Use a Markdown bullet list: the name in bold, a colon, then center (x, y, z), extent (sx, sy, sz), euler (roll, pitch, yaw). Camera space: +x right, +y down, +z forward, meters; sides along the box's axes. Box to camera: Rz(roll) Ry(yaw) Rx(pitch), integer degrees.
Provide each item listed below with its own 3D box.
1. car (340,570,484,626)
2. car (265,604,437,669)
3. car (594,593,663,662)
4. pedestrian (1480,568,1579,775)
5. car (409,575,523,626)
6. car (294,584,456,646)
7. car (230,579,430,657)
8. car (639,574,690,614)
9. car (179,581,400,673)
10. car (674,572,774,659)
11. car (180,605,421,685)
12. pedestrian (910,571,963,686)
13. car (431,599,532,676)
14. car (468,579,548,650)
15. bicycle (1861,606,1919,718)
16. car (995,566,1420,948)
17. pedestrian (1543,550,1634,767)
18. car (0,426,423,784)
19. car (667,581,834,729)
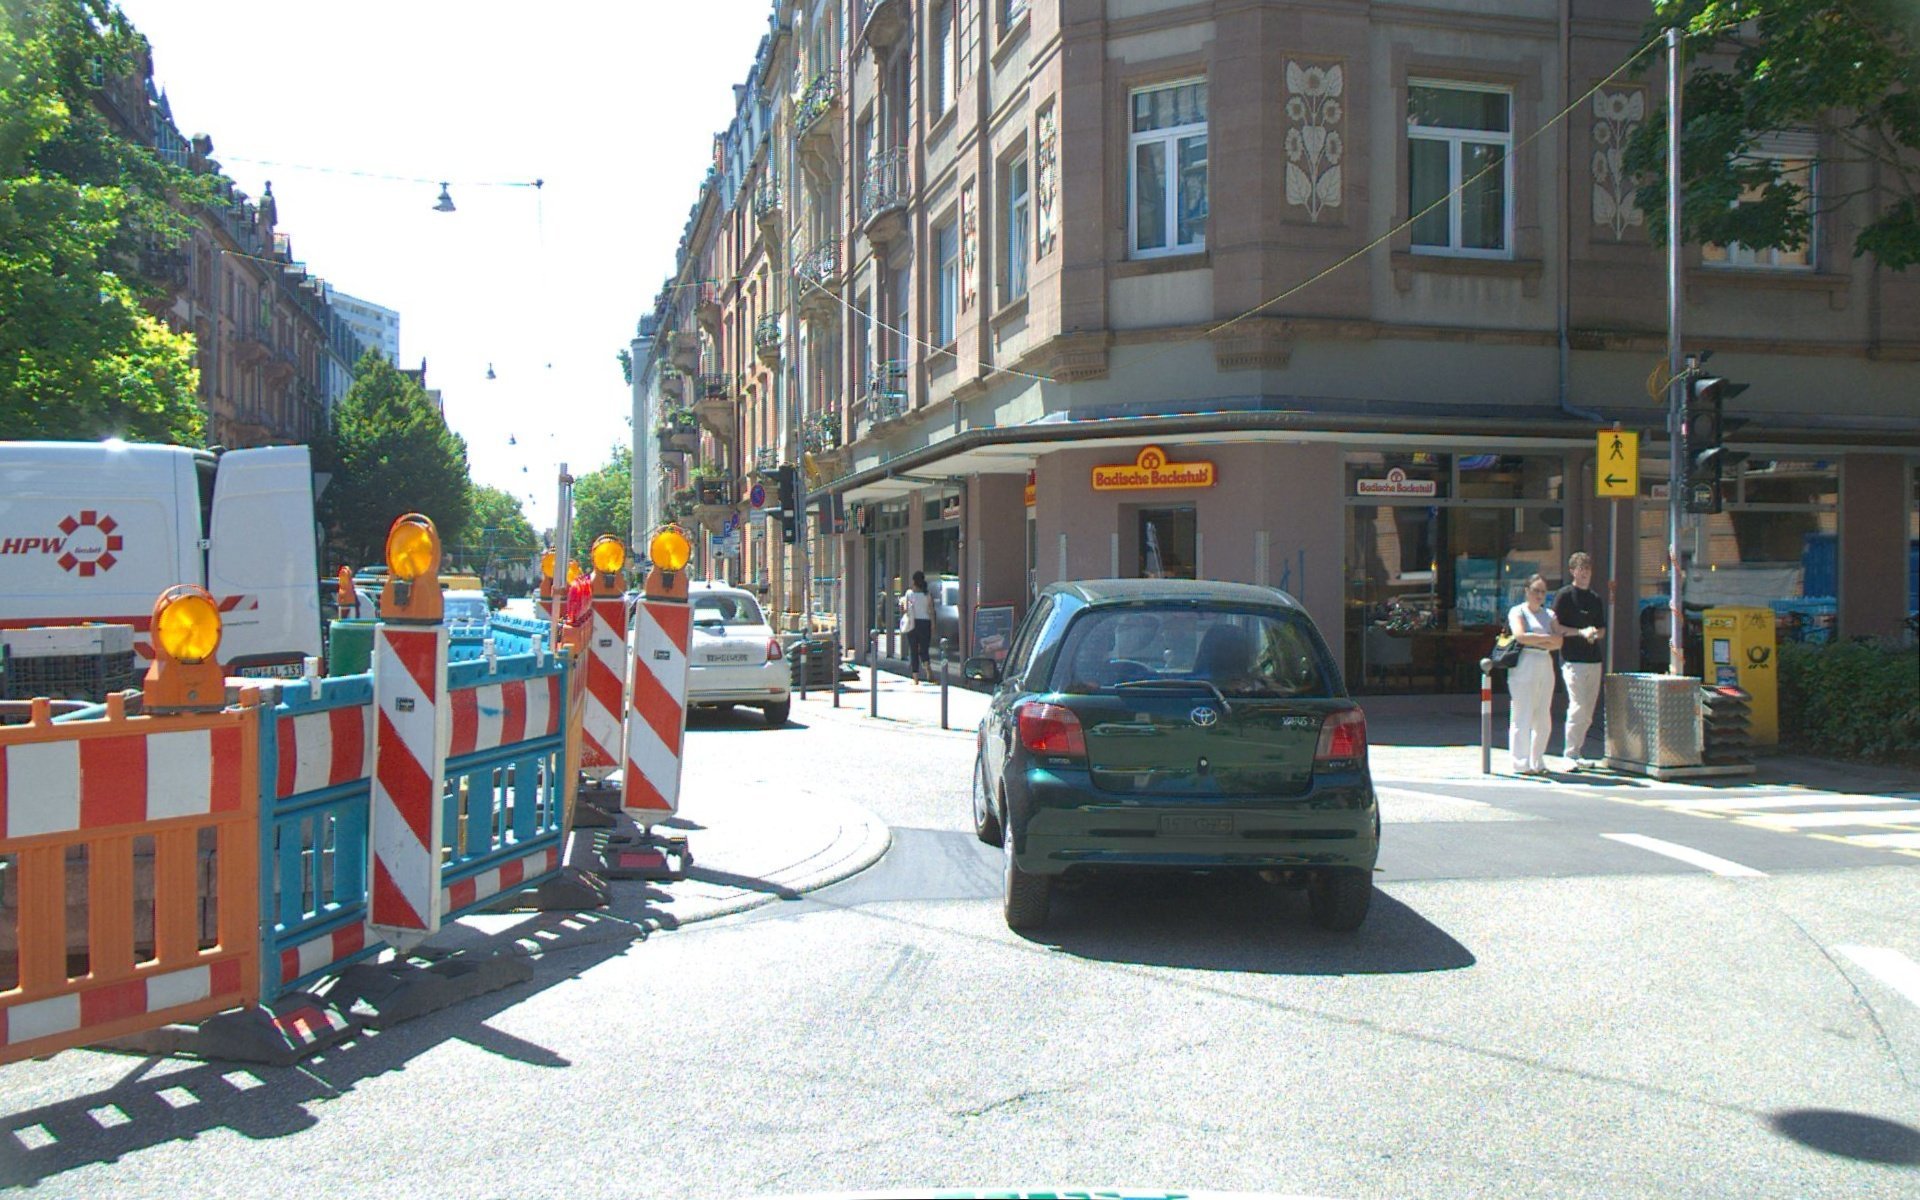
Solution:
- **car**: center (-20.551, -0.069, 62.150), extent (4.748, 2.029, 2.022), euler (0, 0, -42)
- **car**: center (-14.742, 0.882, 40.088), extent (3.592, 1.483, 1.603), euler (2, 0, -37)
- **car**: center (-8.224, 0.645, 40.929), extent (1.497, 1.620, 3.251), euler (0, 1, -15)
- **pedestrian**: center (4.808, 0.589, 13.972), extent (0.691, 1.673, 0.420), euler (-3, 4, -21)
- **car**: center (-22.143, 0.015, 74.198), extent (4.530, 2.226, 1.971), euler (0, 0, -41)
- **car**: center (-16.069, 0.387, 45.579), extent (1.829, 1.647, 3.907), euler (0, 0, 36)
- **car**: center (-14.411, 0.422, 37.894), extent (3.956, 1.687, 1.737), euler (2, 0, -37)
- **car**: center (-11.165, -0.223, 62.335), extent (1.724, 1.454, 3.987), euler (-1, 0, -13)
- **car**: center (-14.132, 0.572, 34.997), extent (3.967, 1.836, 1.741), euler (2, 0, -43)
- **car**: center (-5.289, 0.318, 36.643), extent (1.839, 1.743, 4.490), euler (-2, 0, -12)
- **car**: center (-12.921, 0.874, 32.541), extent (1.938, 1.437, 3.971), euler (1, 0, 44)
- **pedestrian**: center (-0.352, 0.402, 24.292), extent (0.630, 1.652, 0.801), euler (0, 0, -13)
- **car**: center (-9.846, 0.728, 34.259), extent (1.724, 1.469, 3.987), euler (-1, 0, -13)
- **car**: center (-11.844, 0.360, 43.553), extent (1.724, 1.674, 4.363), euler (-3, 1, -13)
- **bicycle**: center (10.524, 0.636, 17.247), extent (1.938, 1.152, 0.517), euler (0, 0, 4)
- **car**: center (1.025, 0.608, 8.239), extent (1.581, 1.511, 3.240), euler (1, 1, -1)
- **pedestrian**: center (5.398, 0.487, 14.221), extent (0.567, 1.799, 0.469), euler (-3, 4, -21)
- **car**: center (-8.156, 0.023, 14.071), extent (6.505, 2.799, 2.373), euler (2, 0, -12)
- **car**: center (-2.480, 0.553, 19.030), extent (1.497, 1.547, 3.251), euler (0, 1, -15)
